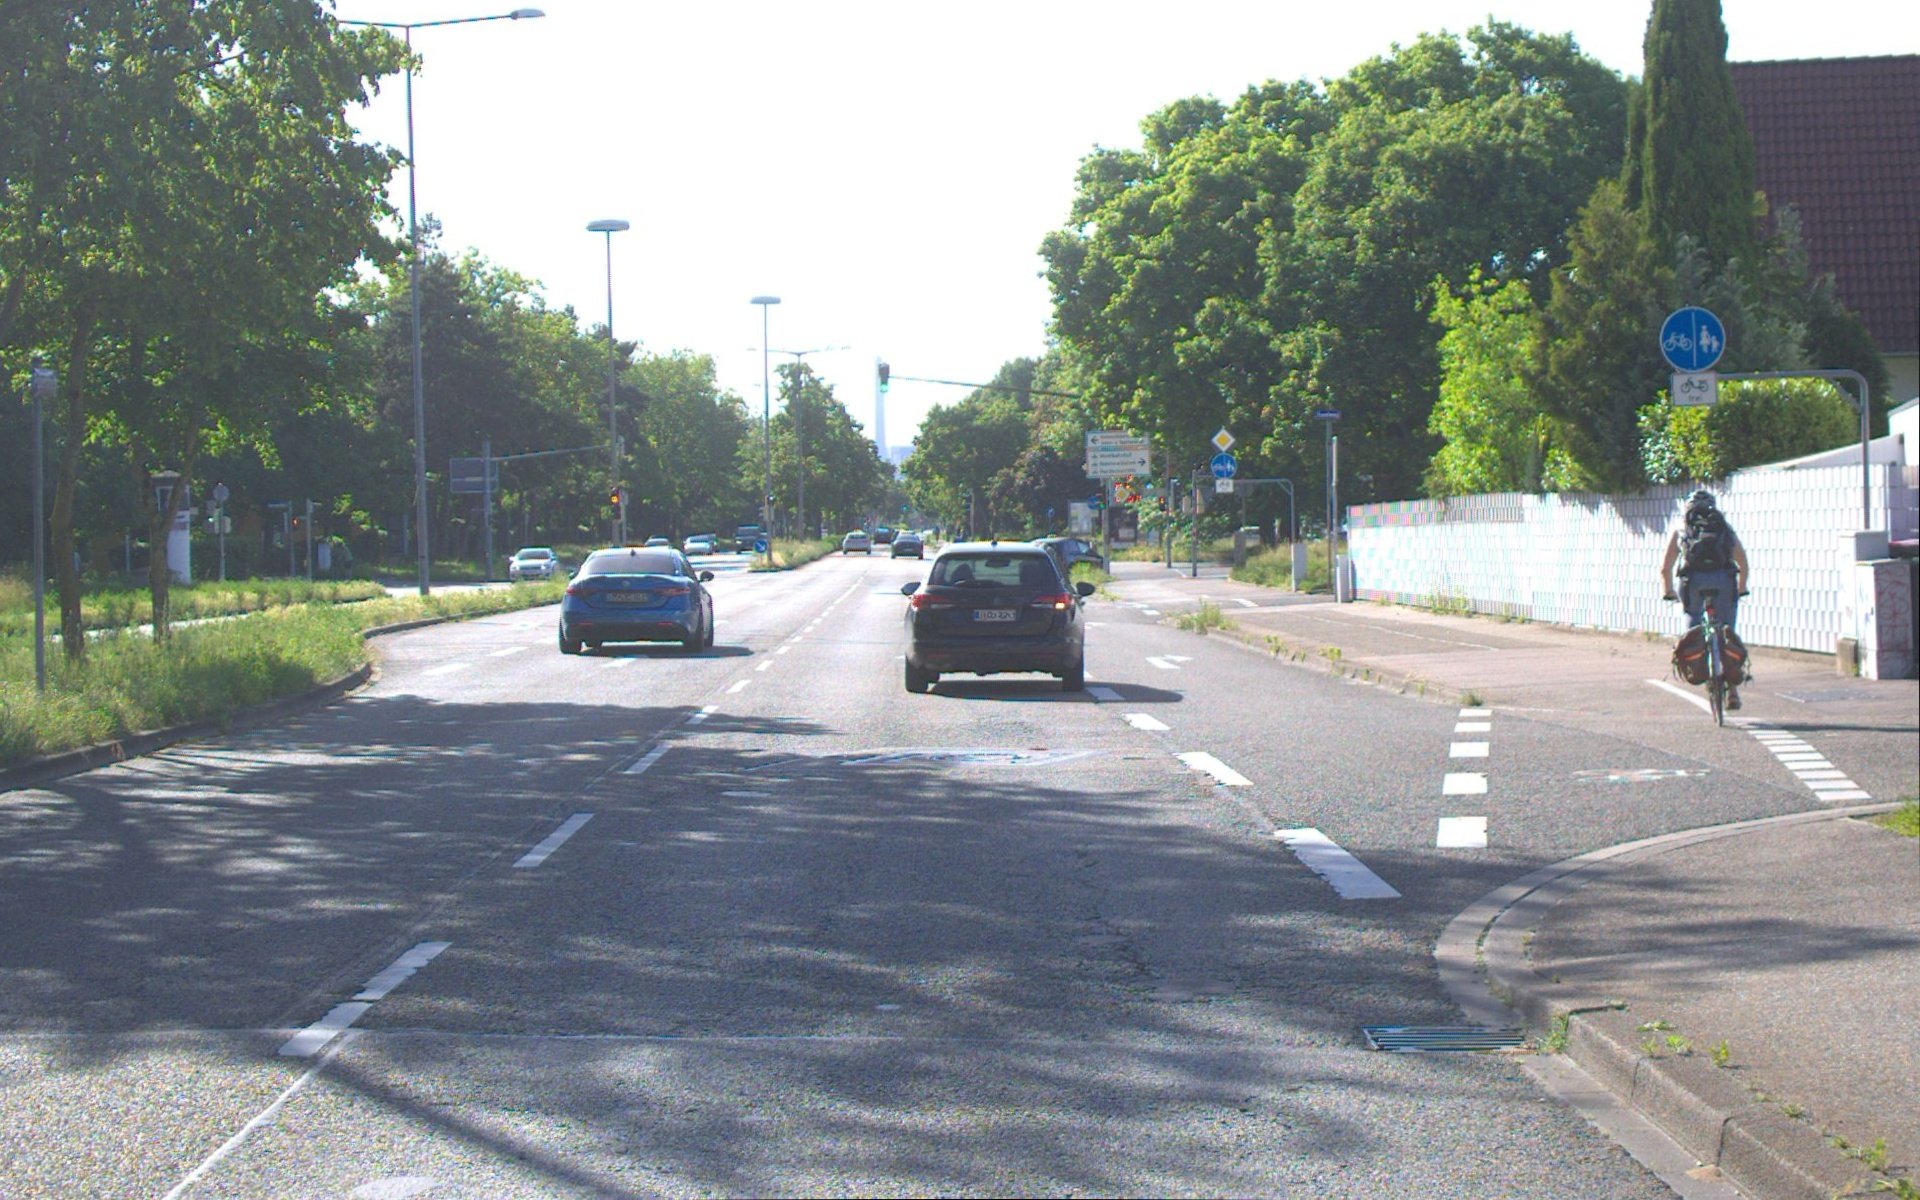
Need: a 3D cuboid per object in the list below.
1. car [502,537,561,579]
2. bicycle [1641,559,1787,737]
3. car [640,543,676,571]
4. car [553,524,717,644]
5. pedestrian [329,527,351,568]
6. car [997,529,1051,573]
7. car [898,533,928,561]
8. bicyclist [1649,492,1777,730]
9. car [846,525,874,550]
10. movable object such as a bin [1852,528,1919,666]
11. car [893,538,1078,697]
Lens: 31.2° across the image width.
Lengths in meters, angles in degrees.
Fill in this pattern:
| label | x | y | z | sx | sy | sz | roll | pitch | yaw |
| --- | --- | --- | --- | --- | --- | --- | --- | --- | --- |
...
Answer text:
| label | x | y | z | sx | sy | sz | roll | pitch | yaw |
| --- | --- | --- | --- | --- | --- | --- | --- | --- | --- |
| car | -17.918 | -1.746 | 143.903 | 1.912 | 1.697 | 4.408 | 1 | 0 | 0 |
| bicycle | 5.385 | 0.317 | 24.672 | 0.574 | 1.151 | 2.141 | -4 | 2 | 2 |
| car | -18.706 | -2.629 | 212.880 | 1.864 | 1.678 | 4.260 | 1 | 1 | 0 |
| car | -4.393 | -0.233 | 47.005 | 1.888 | 1.547 | 4.000 | -1 | 1 | -1 |
| pedestrian | -27.400 | -2.320 | 152.002 | 0.846 | 1.829 | 0.549 | 0 | 1 | 2 |
| car | 2.196 | -1.683 | 117.409 | 1.732 | 1.454 | 3.840 | 0 | 1 | 3 |
| car | -2.744 | -3.083 | 201.035 | 1.732 | 1.579 | 3.840 | 1 | 1 | -1 |
| bicyclist | 5.387 | 0.063 | 24.638 | 0.630 | 1.627 | 0.982 | -4 | 1 | 2 |
| car | -6.700 | -4.152 | 229.444 | 1.824 | 1.609 | 3.840 | 1 | 1 | -2 |
| movable object such as a bin | 8.601 | -0.040 | 30.782 | 1.002 | 1.201 | 1.062 | -2 | 0 | 7 |
| car | 0.217 | 0.144 | 34.566 | 1.755 | 1.504 | 3.809 | 0 | 1 | -1 |
